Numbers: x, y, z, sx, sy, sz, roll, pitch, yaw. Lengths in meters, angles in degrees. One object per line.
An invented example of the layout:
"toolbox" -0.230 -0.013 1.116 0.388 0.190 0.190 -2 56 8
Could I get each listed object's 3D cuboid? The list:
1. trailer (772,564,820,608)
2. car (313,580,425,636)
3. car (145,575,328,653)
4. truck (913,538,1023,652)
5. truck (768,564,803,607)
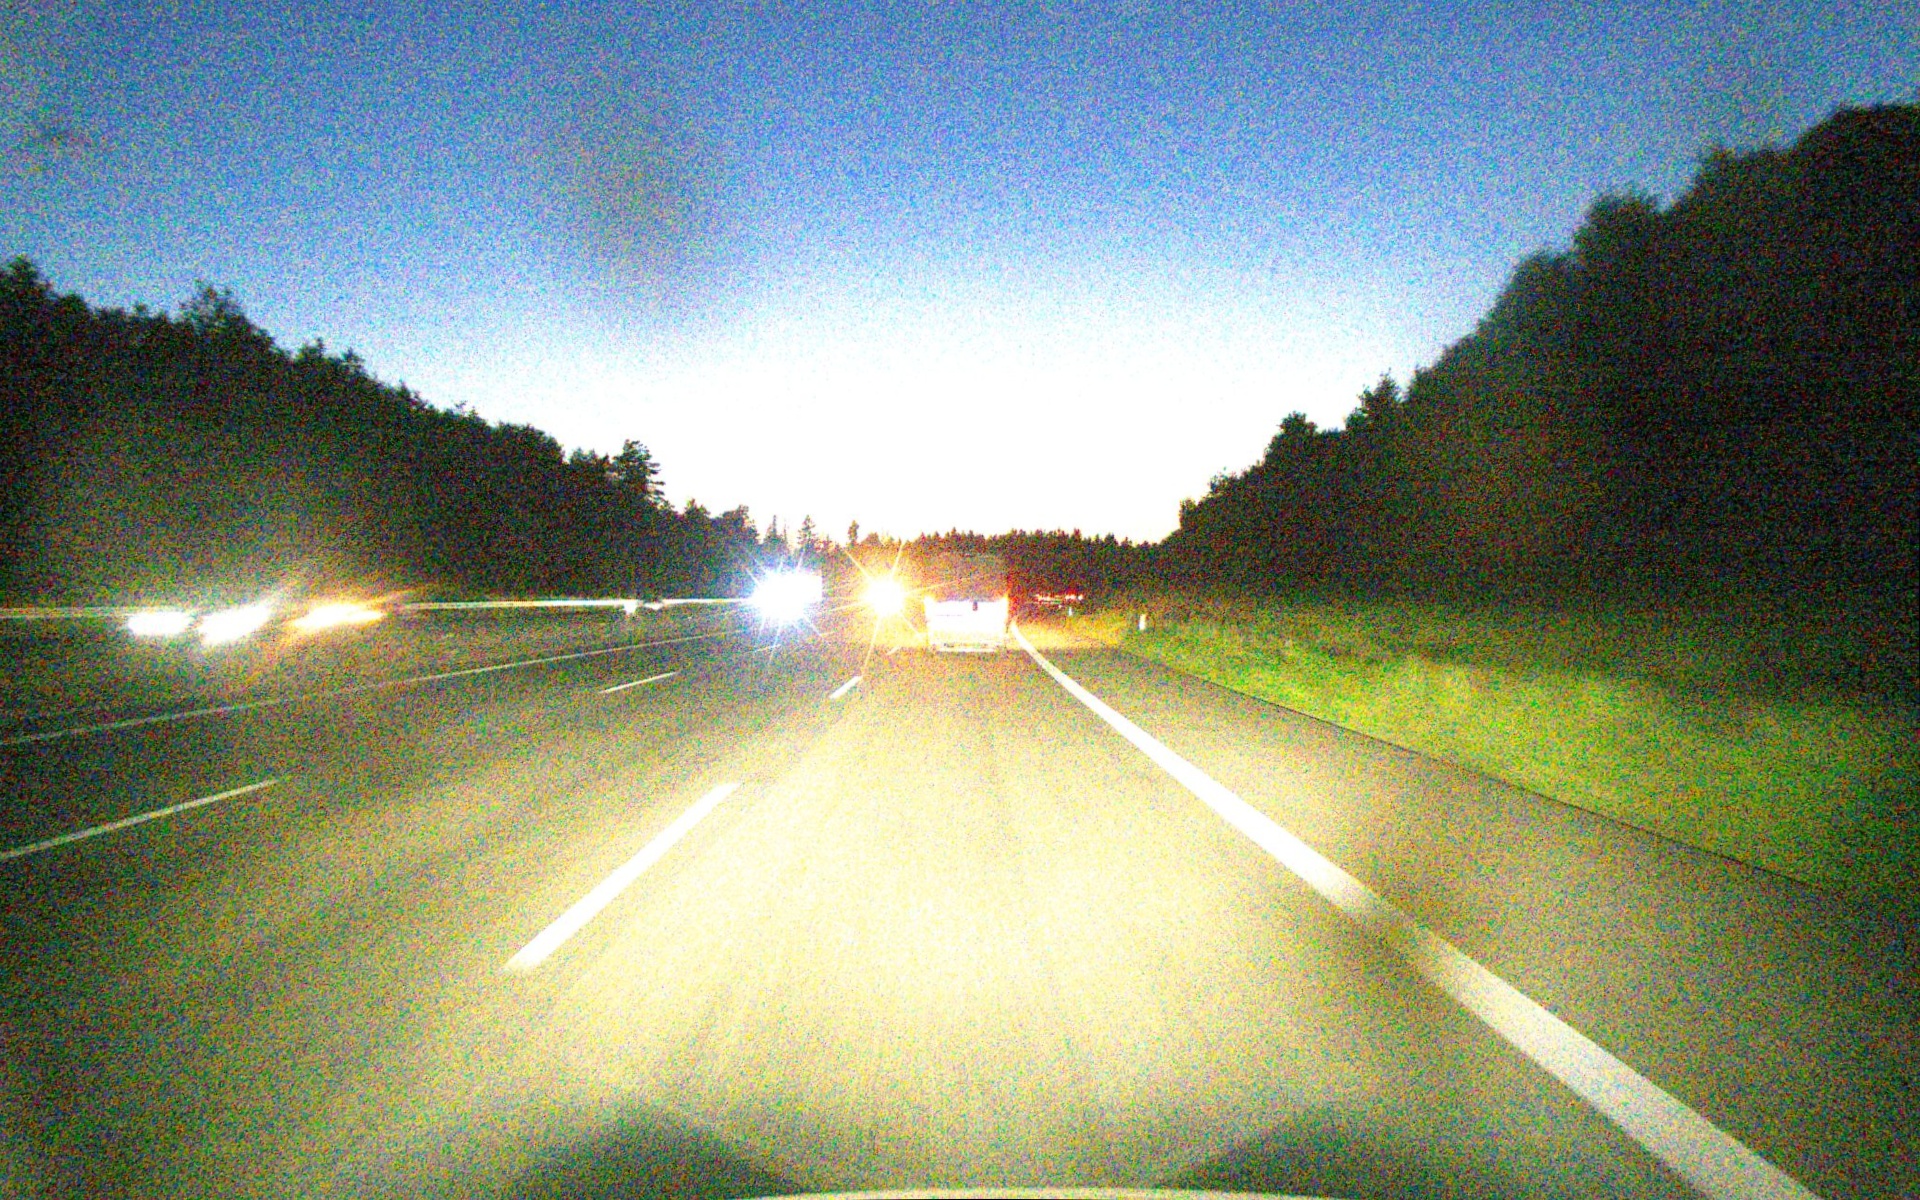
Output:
"trailer" -17.353 -1.377 175.910 2.632 4.292 17.257 1 -1 2
"car" -18.769 0.272 52.717 1.953 1.679 4.399 1 -1 0
"car" -14.994 0.293 34.546 1.953 1.494 4.208 1 -1 0
"truck" 0.320 -0.079 43.258 2.576 2.670 8.686 1 -1 2
"truck" -17.687 -1.462 168.047 2.657 4.272 5.422 1 -1 3
